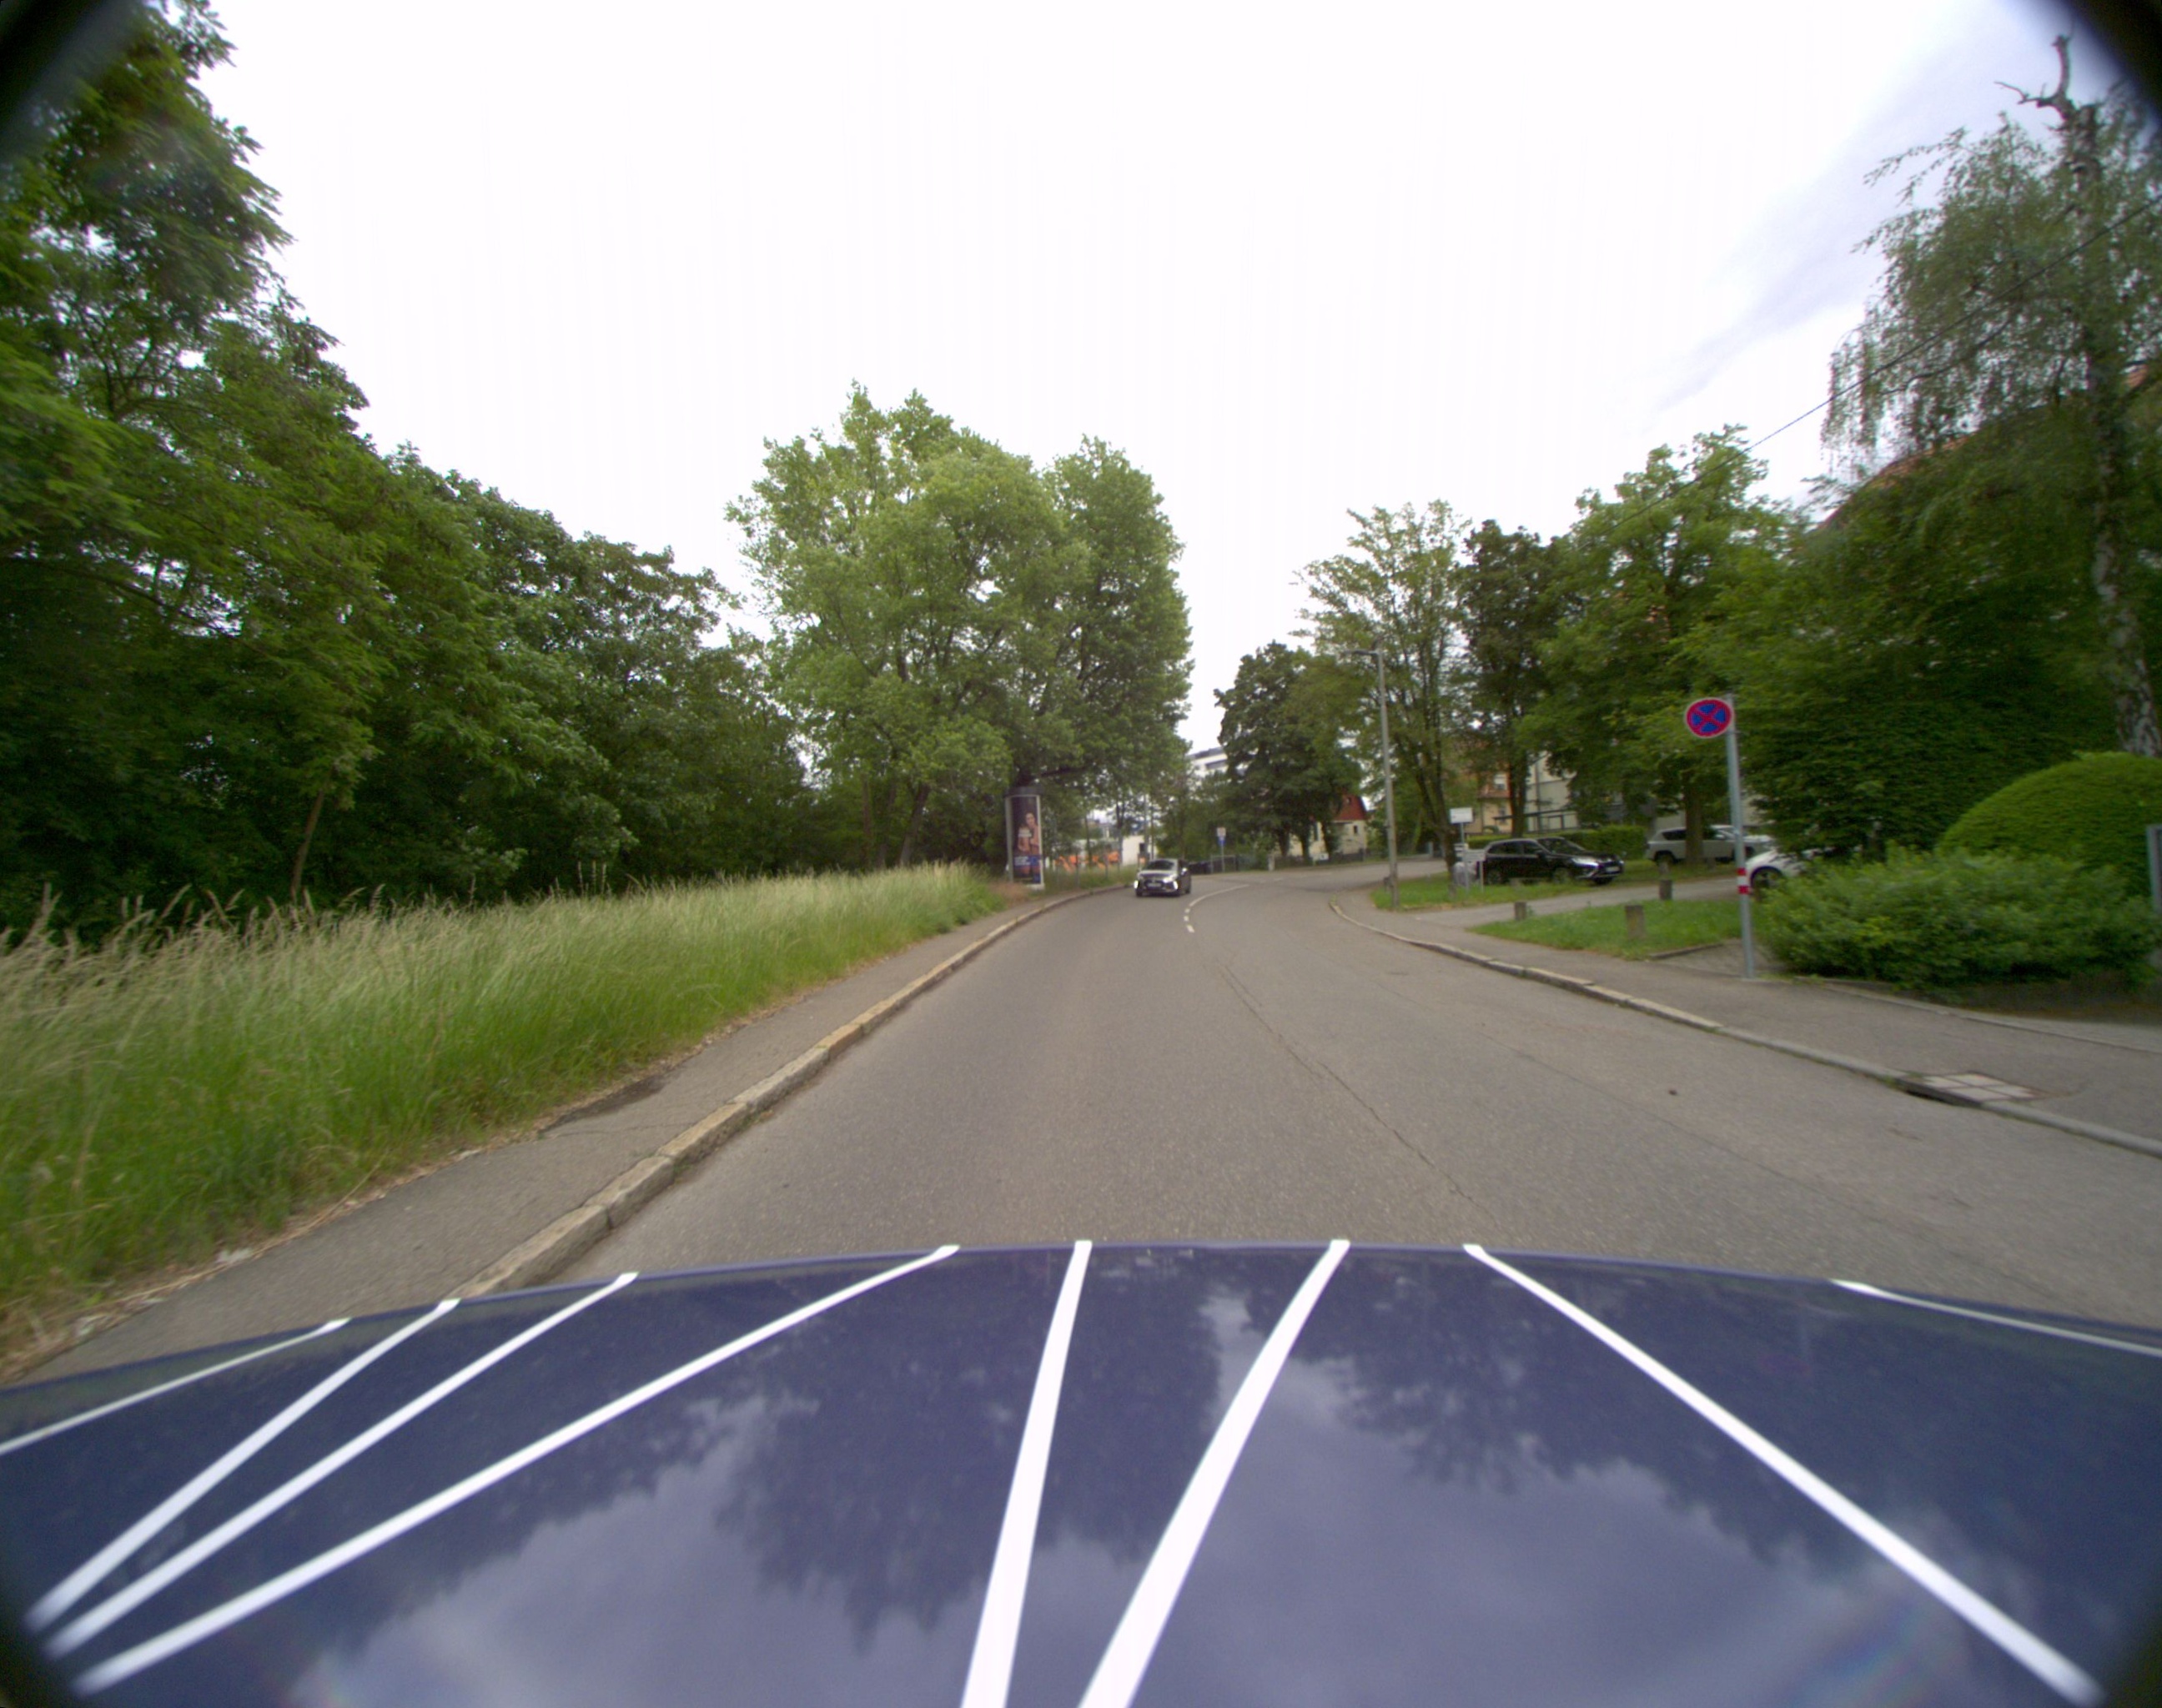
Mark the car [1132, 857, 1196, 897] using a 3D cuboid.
[{"bbox_3d":[3.351,0.873,29.993,1.644,1.390,3.787,-1,0,20],"label":"car"}]

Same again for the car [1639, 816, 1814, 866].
[{"bbox_3d":[24.016,-0.420,28.508,1.958,1.524,4.584,-4,-1,-19],"label":"car"}]

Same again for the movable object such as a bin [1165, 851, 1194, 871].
[{"bbox_3d":[7.966,0.554,61.420,1.678,1.538,1.423,-3,0,-33],"label":"movable object such as a bin"}]

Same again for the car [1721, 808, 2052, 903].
[{"bbox_3d":[15.995,0.052,15.464,1.748,1.584,4.267,-3,0,-15],"label":"car"}]

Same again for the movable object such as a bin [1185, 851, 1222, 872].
[{"bbox_3d":[10.800,0.678,66.861,2.211,1.722,2.231,-4,0,-30],"label":"movable object such as a bin"}]

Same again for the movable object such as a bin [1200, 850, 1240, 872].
[{"bbox_3d":[11.798,0.604,64.691,2.211,1.703,2.495,-4,0,-30],"label":"movable object such as a bin"}]

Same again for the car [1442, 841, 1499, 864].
[{"bbox_3d":[26.715,-0.140,52.087,4.086,1.449,1.725,-1,2,-36],"label":"car"}]

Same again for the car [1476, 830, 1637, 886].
[{"bbox_3d":[15.419,0.160,24.949,1.748,1.584,4.327,-3,0,-17],"label":"car"}]

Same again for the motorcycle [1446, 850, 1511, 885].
[{"bbox_3d":[14.754,0.504,28.227,2.068,1.145,0.864,-3,0,-16],"label":"motorcycle"}]
